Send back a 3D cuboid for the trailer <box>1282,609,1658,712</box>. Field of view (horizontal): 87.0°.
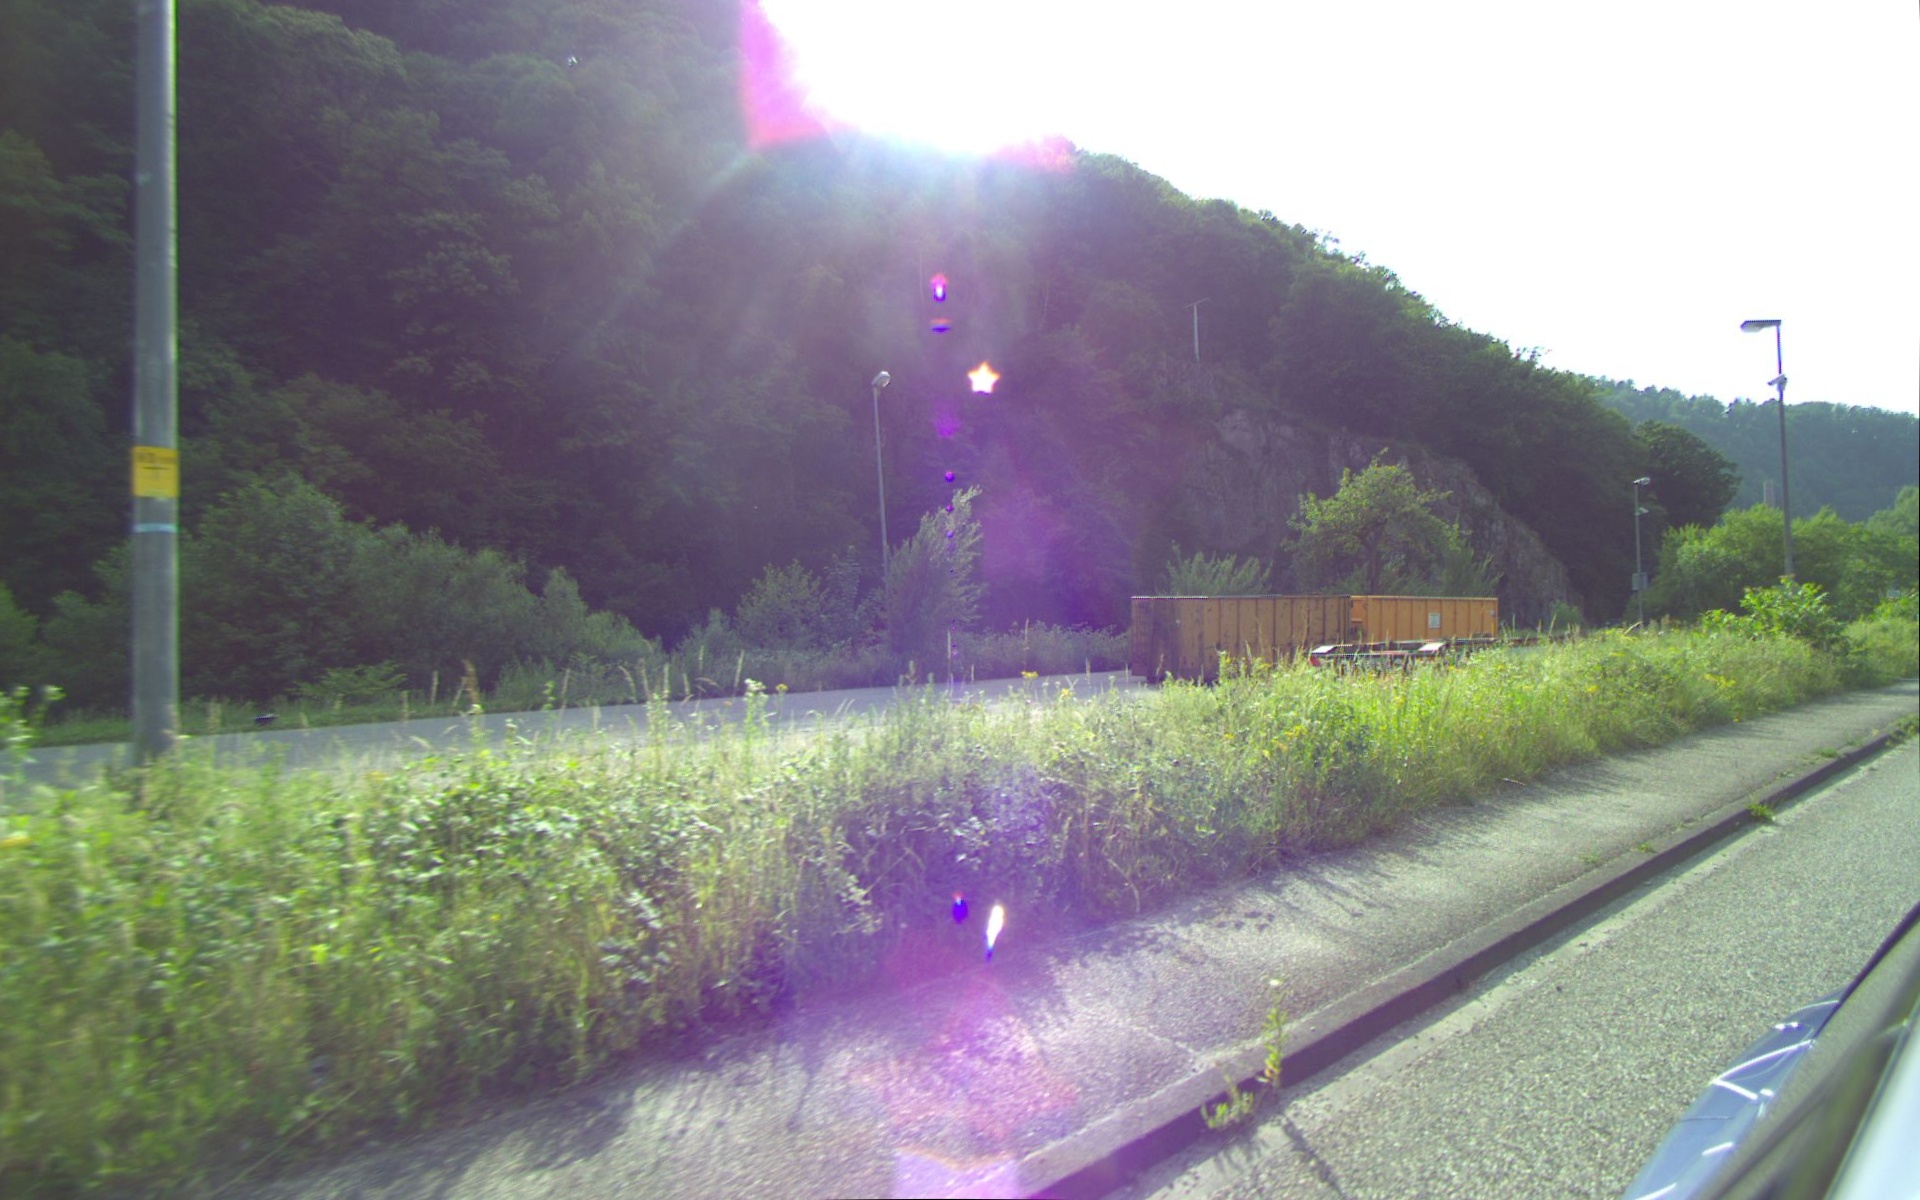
[{"bbox_3d":[10.147,1.028,19.403,9.711,1.494,2.796,0,-4,-40],"label":"trailer"}]
